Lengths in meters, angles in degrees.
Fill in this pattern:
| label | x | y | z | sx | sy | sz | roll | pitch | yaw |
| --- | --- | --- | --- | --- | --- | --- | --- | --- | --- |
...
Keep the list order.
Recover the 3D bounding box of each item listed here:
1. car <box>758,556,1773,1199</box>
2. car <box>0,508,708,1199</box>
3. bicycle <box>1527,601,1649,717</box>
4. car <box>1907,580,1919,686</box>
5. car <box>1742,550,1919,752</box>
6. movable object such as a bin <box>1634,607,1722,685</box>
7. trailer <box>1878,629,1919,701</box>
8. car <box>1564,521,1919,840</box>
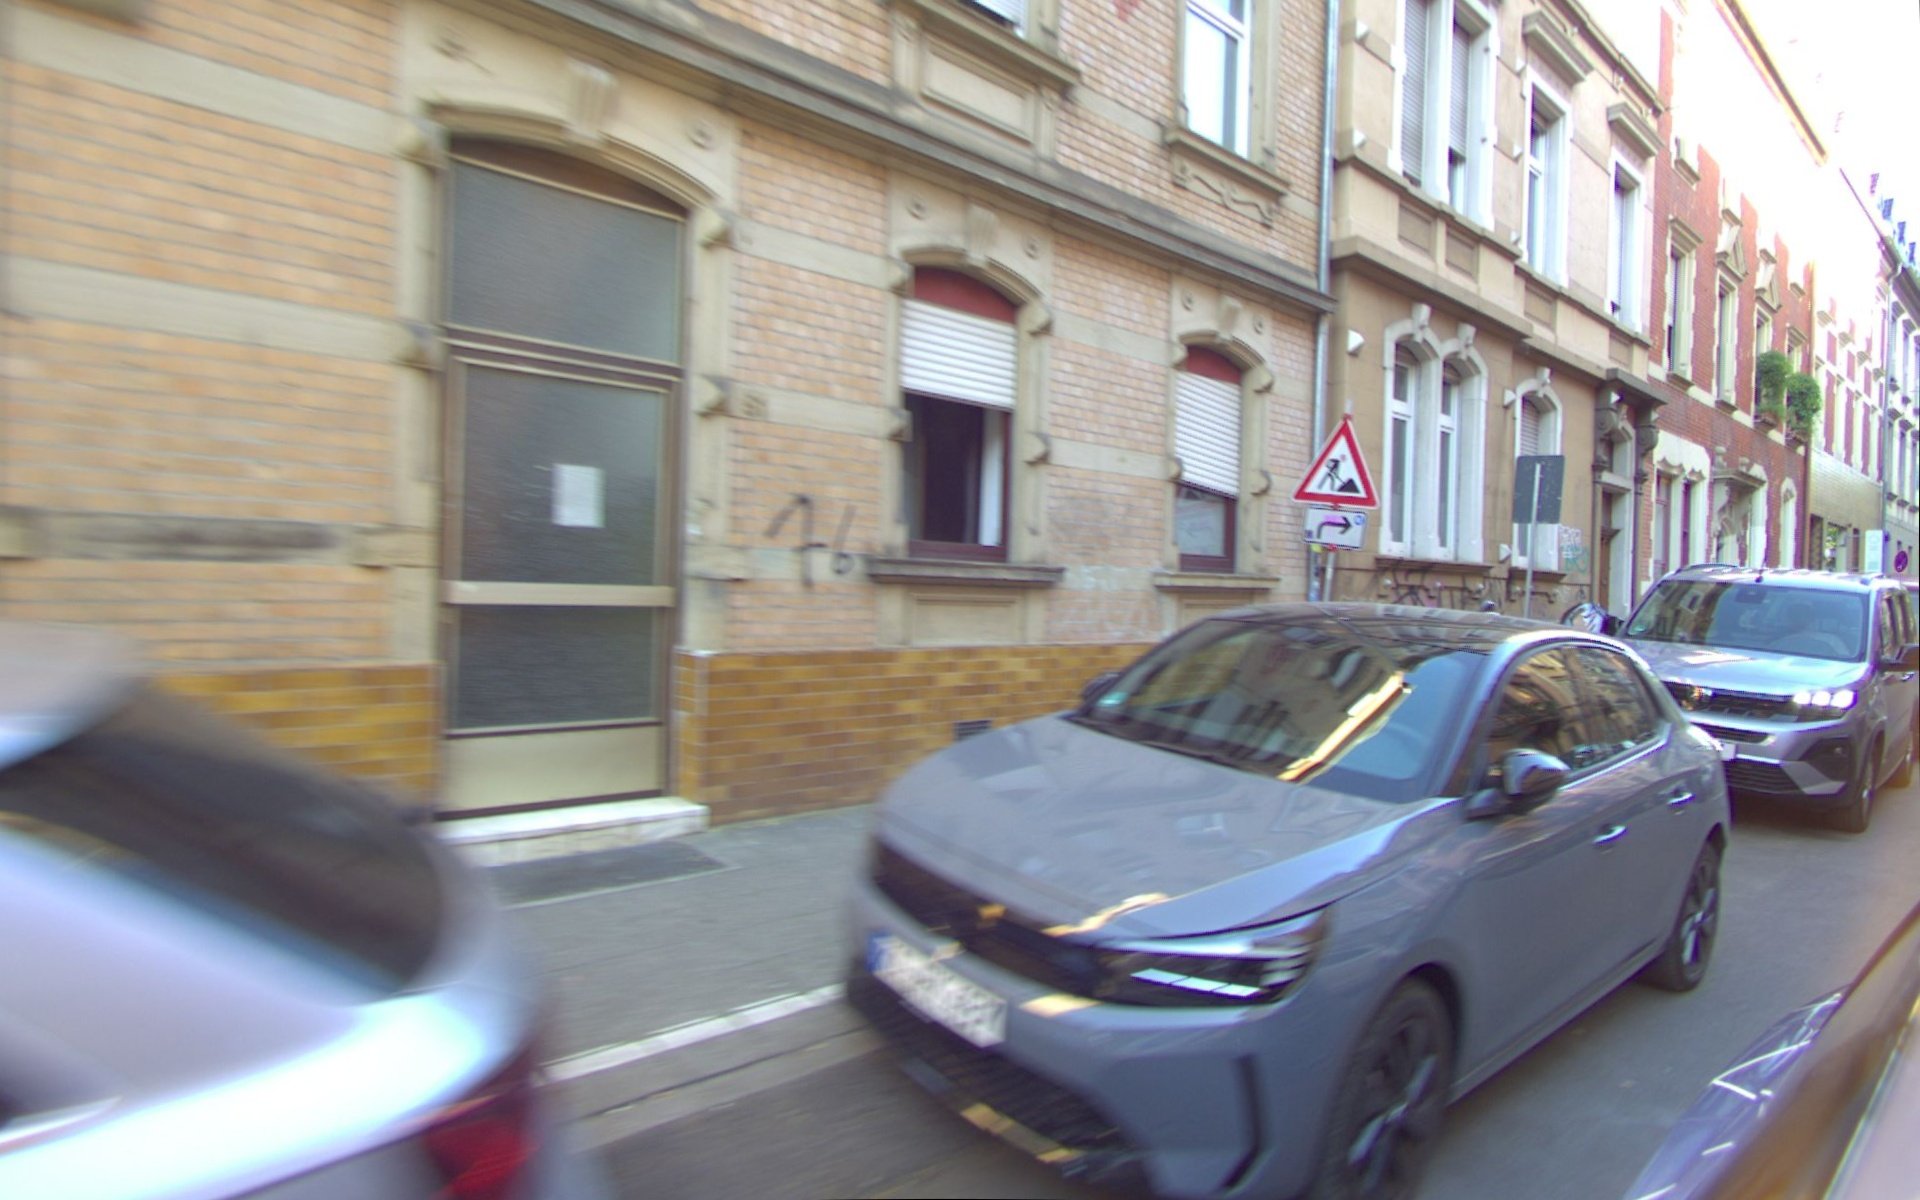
| label | x | y | z | sx | sy | sz | roll | pitch | yaw |
| --- | --- | --- | --- | --- | --- | --- | --- | --- | --- |
| car | 1.397 | 0.680 | 3.656 | 3.818 | 1.497 | 1.670 | 1 | 1 | -40 |
| car | -2.516 | 0.649 | 0.331 | 4.431 | 1.477 | 1.709 | 1 | 0 | -40 |
| bicycle | 7.956 | 0.708 | 12.799 | 1.662 | 1.319 | 0.729 | 1 | 4 | -40 |
| car | 20.387 | 0.642 | 20.096 | 4.495 | 2.009 | 1.848 | 1 | -1 | -41 |
| car | 11.137 | 0.525 | 12.165 | 4.657 | 2.039 | 1.835 | 1 | 0 | -40 |
| movable object such as a bin | 11.087 | 0.691 | 15.633 | 0.710 | 1.074 | 0.897 | 1 | 4 | -42 |
| trailer | 16.667 | 1.062 | 17.018 | 2.987 | 1.127 | 1.506 | 1 | -2 | -42 |
| car | 6.739 | 0.507 | 8.341 | 4.188 | 1.986 | 1.773 | 1 | 0 | -40 |
